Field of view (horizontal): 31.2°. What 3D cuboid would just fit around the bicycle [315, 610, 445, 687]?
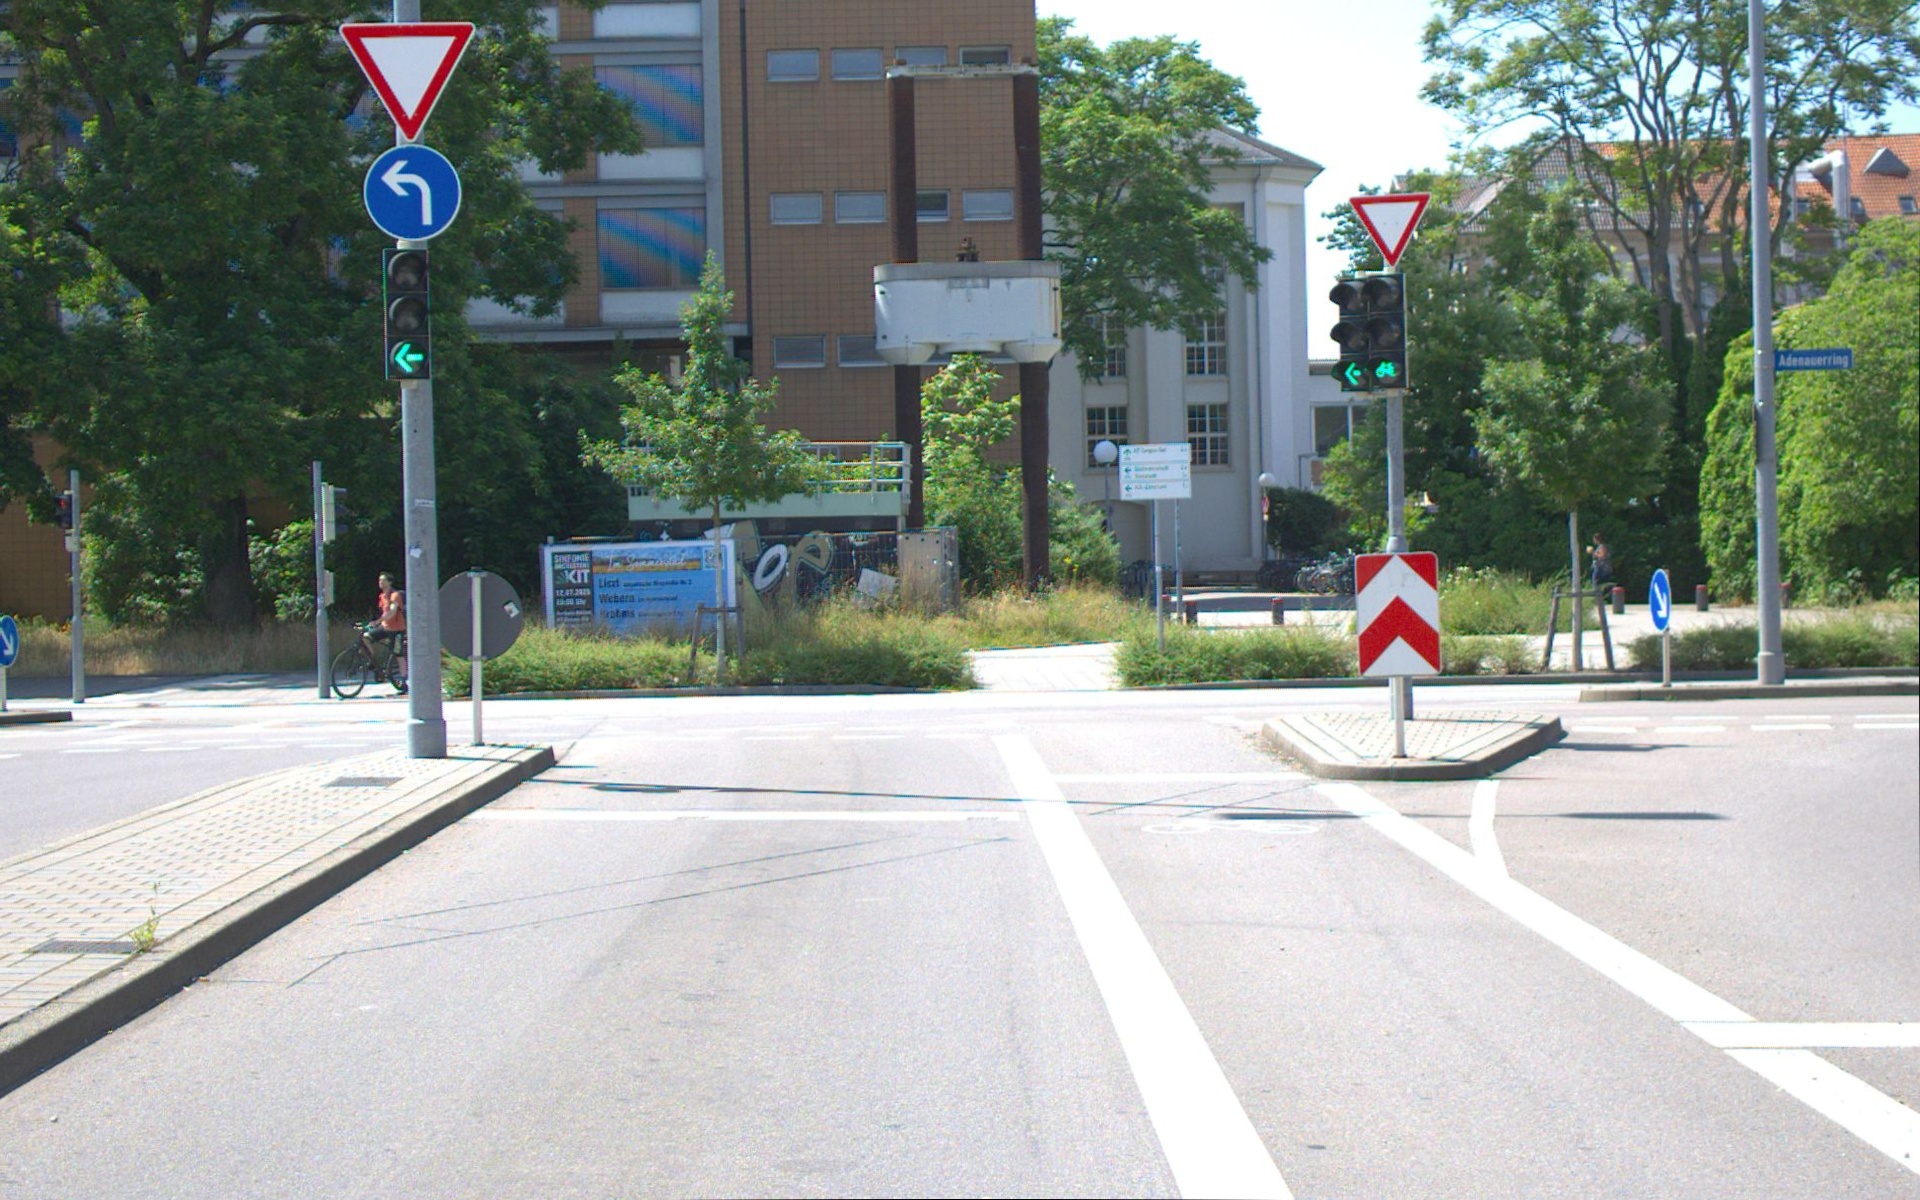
[{"bbox_3d":[-8.618,0.716,51.124,0.558,1.041,1.992,1,3,41],"label":"bicycle"}]

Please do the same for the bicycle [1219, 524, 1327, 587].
[{"bbox_3d":[10.247,-1.450,112.465,3.447,2.007,0.760,1,1,1],"label":"bicycle"}]

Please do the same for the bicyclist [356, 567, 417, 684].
[{"bbox_3d":[-8.556,0.375,51.280,0.551,1.710,0.701,1,2,40],"label":"bicyclist"}]

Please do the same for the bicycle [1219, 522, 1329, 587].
[{"bbox_3d":[10.057,-1.454,110.117,3.447,2.007,0.760,1,1,1],"label":"bicycle"}]

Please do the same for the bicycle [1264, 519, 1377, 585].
[{"bbox_3d":[11.304,-1.501,107.921,3.447,2.007,0.760,1,1,1],"label":"bicycle"}]

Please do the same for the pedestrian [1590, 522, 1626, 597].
[{"bbox_3d":[14.514,-0.915,76.984,0.639,1.660,0.707,1,1,-2],"label":"pedestrian"}]

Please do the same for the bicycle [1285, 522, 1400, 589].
[{"bbox_3d":[11.792,-1.381,105.963,3.447,2.007,0.760,1,1,1],"label":"bicycle"}]
